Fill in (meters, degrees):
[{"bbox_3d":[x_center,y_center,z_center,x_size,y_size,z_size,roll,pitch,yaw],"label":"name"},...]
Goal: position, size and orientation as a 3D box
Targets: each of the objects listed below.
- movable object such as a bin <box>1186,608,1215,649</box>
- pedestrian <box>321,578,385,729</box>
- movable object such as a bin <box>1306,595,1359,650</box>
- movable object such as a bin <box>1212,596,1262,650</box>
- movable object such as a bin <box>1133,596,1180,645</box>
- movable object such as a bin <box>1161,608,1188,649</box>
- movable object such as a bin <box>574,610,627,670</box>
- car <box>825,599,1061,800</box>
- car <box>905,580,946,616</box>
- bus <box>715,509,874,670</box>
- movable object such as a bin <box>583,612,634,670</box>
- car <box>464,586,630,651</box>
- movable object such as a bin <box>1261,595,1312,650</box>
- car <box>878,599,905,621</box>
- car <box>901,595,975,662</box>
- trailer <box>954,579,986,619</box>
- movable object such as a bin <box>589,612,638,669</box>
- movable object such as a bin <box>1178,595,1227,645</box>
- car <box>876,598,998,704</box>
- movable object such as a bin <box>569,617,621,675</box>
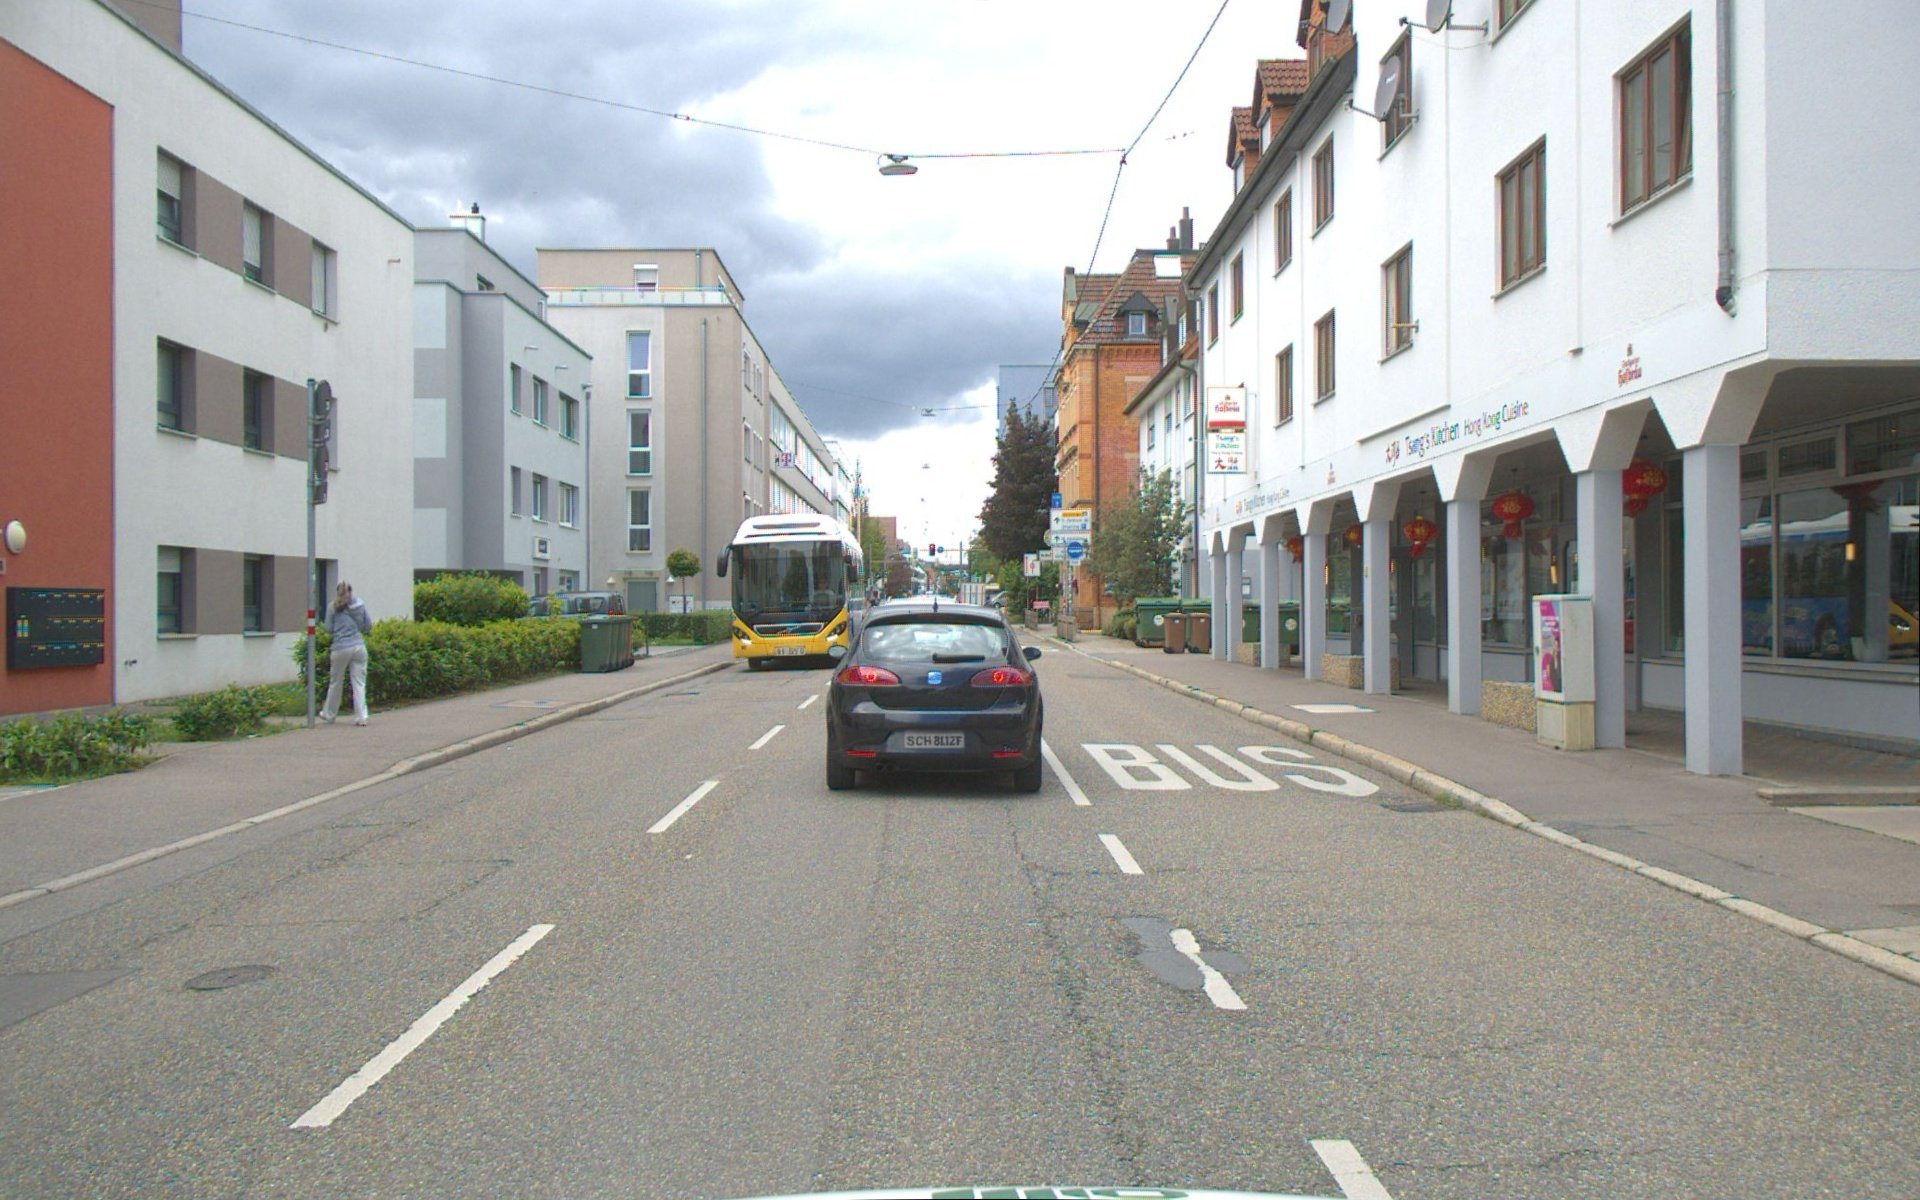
[{"bbox_3d":[6.549,0.771,45.033,0.683,1.098,0.972,0,0,3],"label":"movable object such as a bin"},{"bbox_3d":[-6.858,0.594,18.677,0.630,1.671,0.516,0,0,-26],"label":"pedestrian"},{"bbox_3d":[10.051,0.596,44.681,1.184,1.442,1.260,0,0,3],"label":"movable object such as a bin"},{"bbox_3d":[7.484,0.608,44.699,1.184,1.442,1.260,0,0,3],"label":"movable object such as a bin"},{"bbox_3d":[5.809,0.599,48.969,1.241,1.442,1.162,0,0,-1],"label":"movable object such as a bin"},{"bbox_3d":[5.834,0.771,45.048,0.669,1.086,0.972,0,0,3],"label":"movable object such as a bin"},{"bbox_3d":[-7.188,0.801,33.127,0.937,1.171,0.839,0,0,-5],"label":"movable object such as a bin"},{"bbox_3d":[-0.148,0.729,14.119,1.730,1.458,3.827,0,0,-1],"label":"car"},{"bbox_3d":[-1.566,-0.089,74.683,1.767,1.580,3.736,0,0,-2],"label":"car"},{"bbox_3d":[-3.820,-0.266,41.090,2.883,3.331,12.005,-2,0,-1],"label":"bus"},{"bbox_3d":[-7.220,0.835,33.967,0.930,1.171,0.748,0,0,-5],"label":"movable object such as a bin"},{"bbox_3d":[-11.296,0.509,45.435,4.076,1.697,1.725,-1,-1,2],"label":"car"},{"bbox_3d":[8.819,0.600,44.704,1.184,1.442,1.260,0,0,3],"label":"movable object such as a bin"},{"bbox_3d":[-5.013,0.721,122.261,1.840,1.476,4.213,-3,0,-1],"label":"car"},{"bbox_3d":[-0.564,0.683,41.613,1.767,1.580,3.736,0,0,-2],"label":"car"},{"bbox_3d":[0.656,-0.089,112.967,1.953,2.653,5.347,0,0,-1],"label":"trailer"},{"bbox_3d":[-7.254,0.838,34.669,0.922,1.171,0.612,0,0,-5],"label":"movable object such as a bin"},{"bbox_3d":[7.139,0.574,48.705,1.241,1.460,1.307,0,0,-1],"label":"movable object such as a bin"},{"bbox_3d":[-0.378,0.733,25.821,1.767,1.519,3.736,0,0,-2],"label":"car"},{"bbox_3d":[-7.112,0.885,32.265,0.877,1.108,0.792,0,0,-5],"label":"movable object such as a bin"}]
